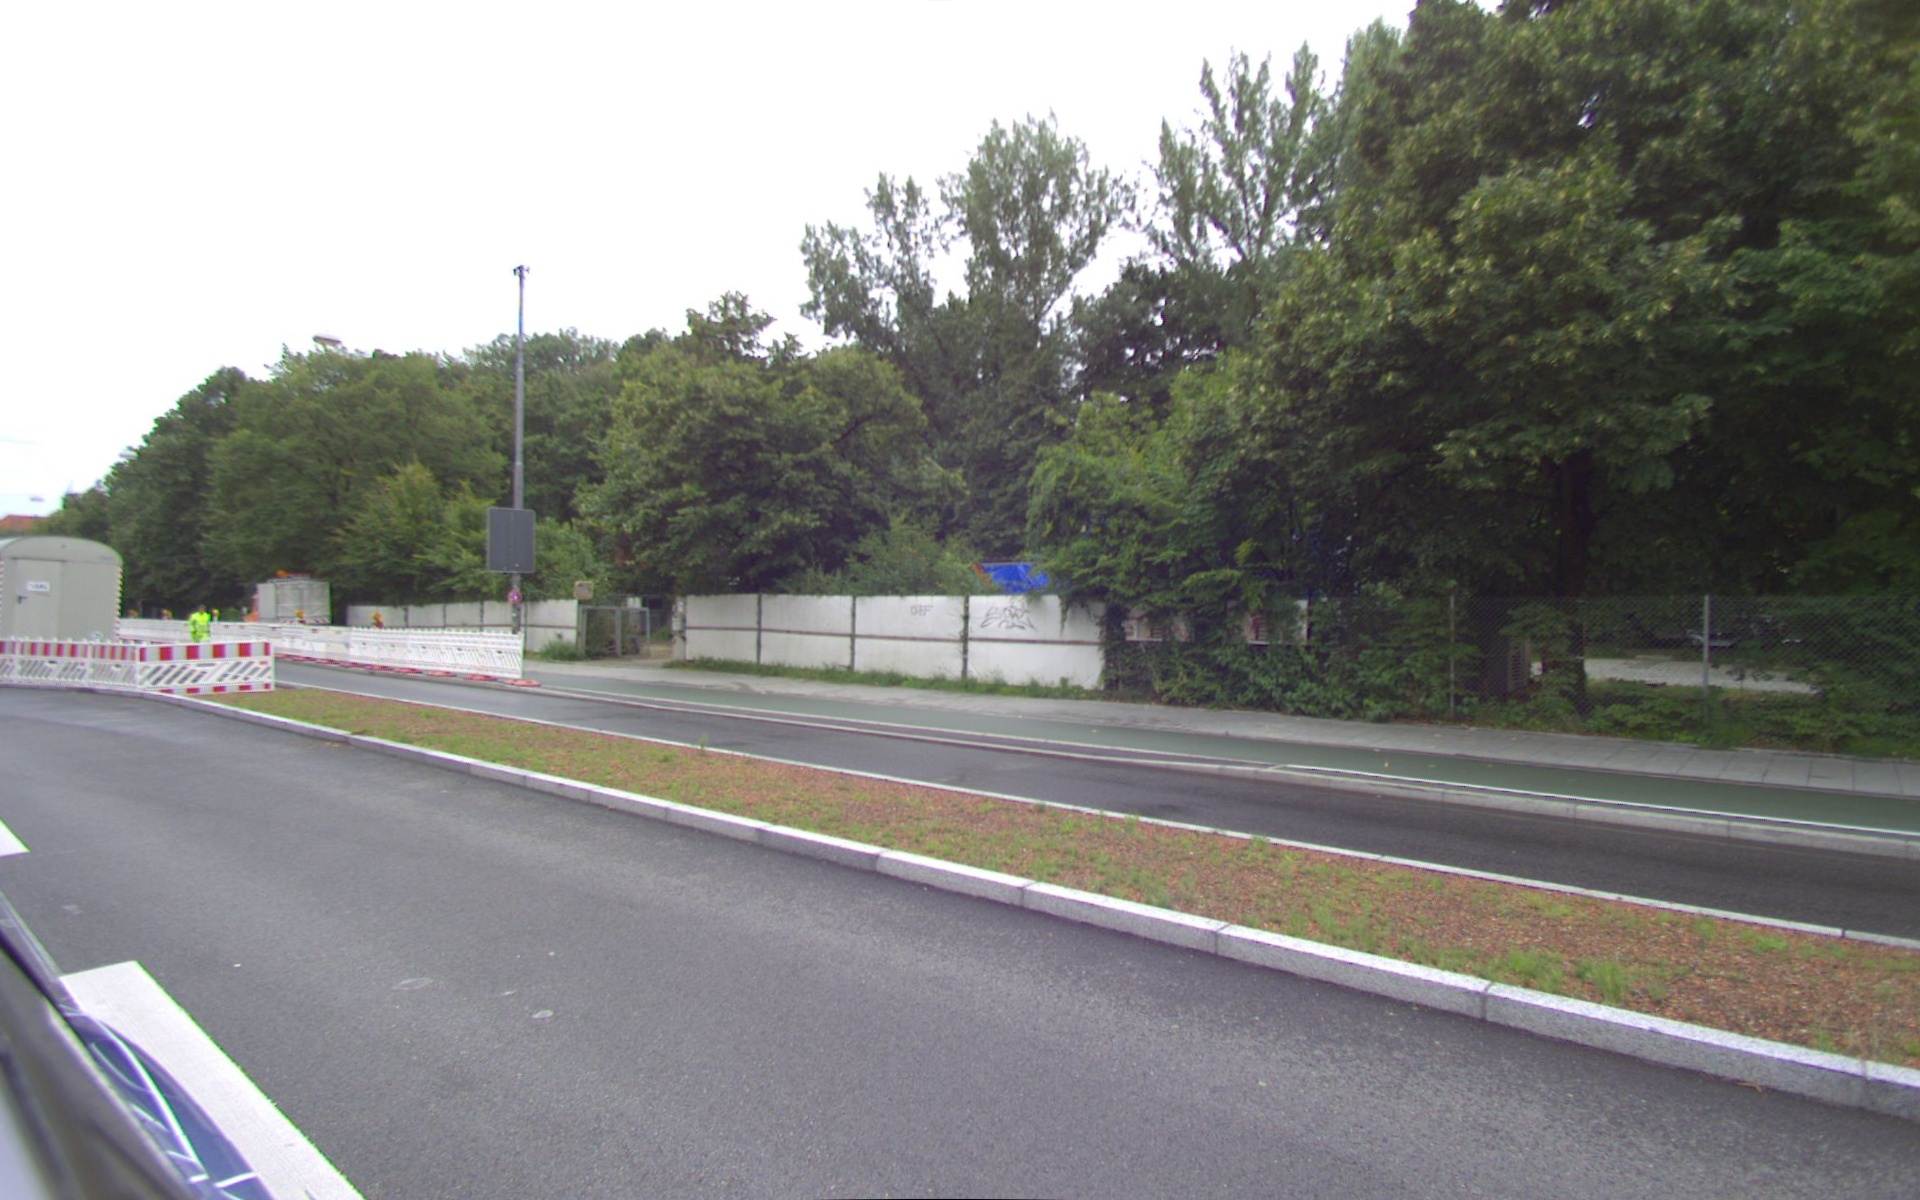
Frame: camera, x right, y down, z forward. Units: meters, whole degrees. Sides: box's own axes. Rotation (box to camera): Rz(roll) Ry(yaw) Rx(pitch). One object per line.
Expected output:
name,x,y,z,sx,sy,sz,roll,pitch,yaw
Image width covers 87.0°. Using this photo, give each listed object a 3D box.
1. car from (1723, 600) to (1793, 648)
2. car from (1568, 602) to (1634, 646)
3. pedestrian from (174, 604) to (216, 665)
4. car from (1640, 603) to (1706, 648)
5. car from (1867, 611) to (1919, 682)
car,30.454,0.911,38.693,1.997,1.732,3.949,-1,-1,38
car,26.796,0.994,42.236,1.997,1.732,3.950,-1,-1,37
pedestrian,-25.023,1.106,33.089,0.874,1.956,0.879,-1,-2,38
car,28.963,1.030,41.045,1.997,1.732,3.949,-1,-1,38
car,22.655,1.024,22.197,3.996,1.556,1.753,-1,-1,39
